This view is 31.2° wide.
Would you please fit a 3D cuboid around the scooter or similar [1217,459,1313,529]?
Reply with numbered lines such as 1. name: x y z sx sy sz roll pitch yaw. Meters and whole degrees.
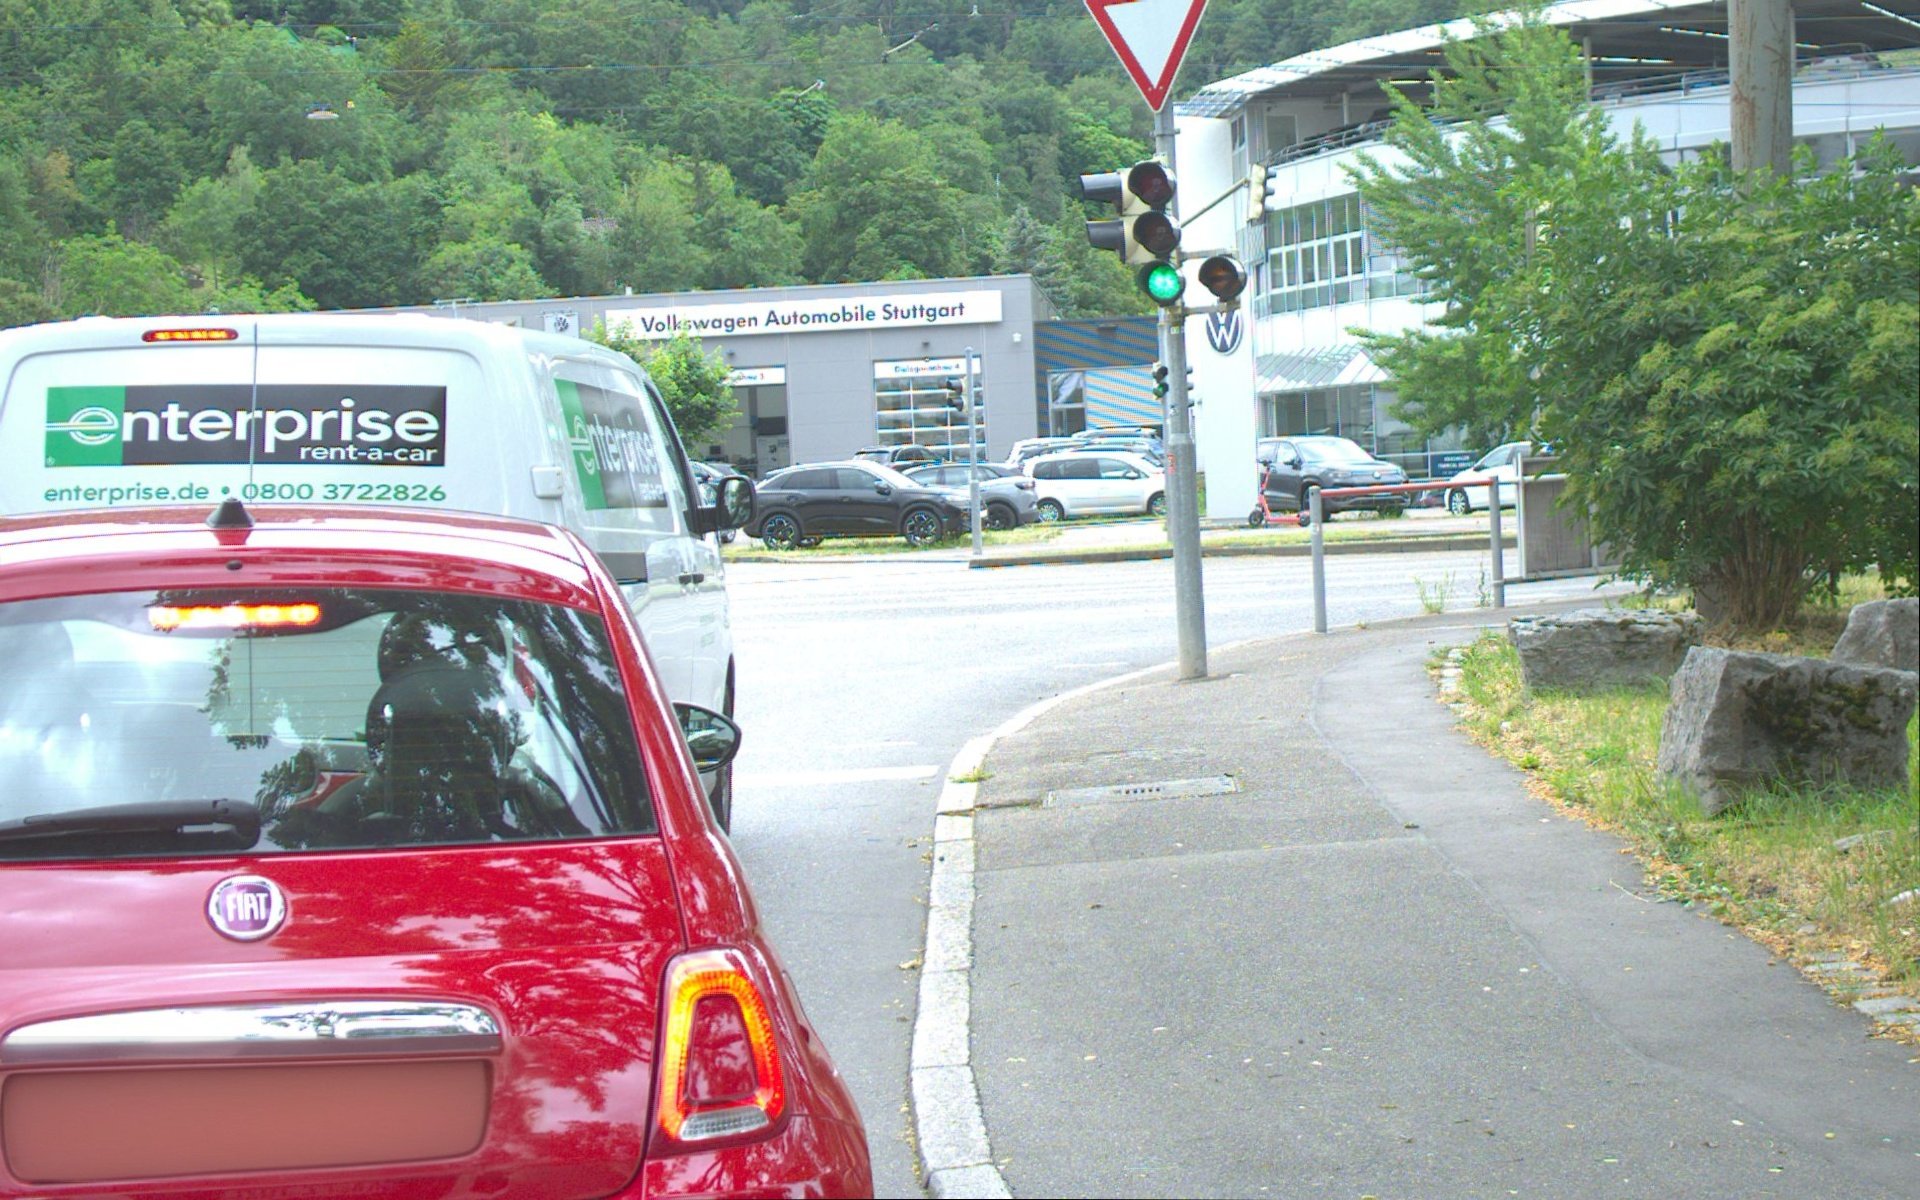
1. scooter or similar: 5.529 -1.923 62.294 1.668 1.173 0.467 -2 2 7

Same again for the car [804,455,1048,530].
1. car: -0.680 -2.209 70.571 4.674 1.323 1.775 -2 2 14

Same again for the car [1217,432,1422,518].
1. car: 6.773 -2.351 65.102 1.770 1.495 3.881 -4 3 -33

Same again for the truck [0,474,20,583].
1. truck: -23.710 -1.460 76.046 5.183 2.385 2.000 -4 3 -28

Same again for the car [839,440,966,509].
1. car: -1.636 -3.649 99.549 1.996 1.809 3.995 -1 3 27

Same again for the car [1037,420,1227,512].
1. car: 4.456 -3.500 89.511 4.796 2.149 2.234 -2 2 3

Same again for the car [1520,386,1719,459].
1. car: 15.275 -4.104 79.730 1.792 1.486 4.212 -5 3 -45

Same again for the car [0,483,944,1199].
1. car: -1.162 0.572 5.533 1.638 1.451 3.432 -2 2 -11

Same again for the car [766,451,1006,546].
1. car: -1.312 -1.820 61.373 3.871 1.495 1.774 -2 2 17

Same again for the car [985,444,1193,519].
1. car: 3.038 -2.796 81.059 4.796 1.528 1.776 -2 2 3

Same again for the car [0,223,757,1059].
1. car: -1.917 0.027 11.328 1.989 2.099 4.762 -3 2 2

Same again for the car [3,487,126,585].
1. car: -17.775 -1.306 68.399 1.859 1.811 4.404 -3 2 -9

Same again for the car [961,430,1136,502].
1. car: 2.490 -3.749 96.196 4.796 1.796 1.776 -2 2 3

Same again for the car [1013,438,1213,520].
1. car: 3.766 -2.982 84.645 4.796 1.796 1.776 -2 2 3

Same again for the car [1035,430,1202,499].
1. car: 4.664 -3.975 101.089 4.796 1.796 1.776 -2 2 3

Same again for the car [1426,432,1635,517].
1. car: 11.050 -2.430 66.840 1.770 1.495 4.022 -4 3 -31

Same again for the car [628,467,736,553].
1. car: -6.348 -2.086 78.828 1.993 1.809 4.000 -3 2 1
